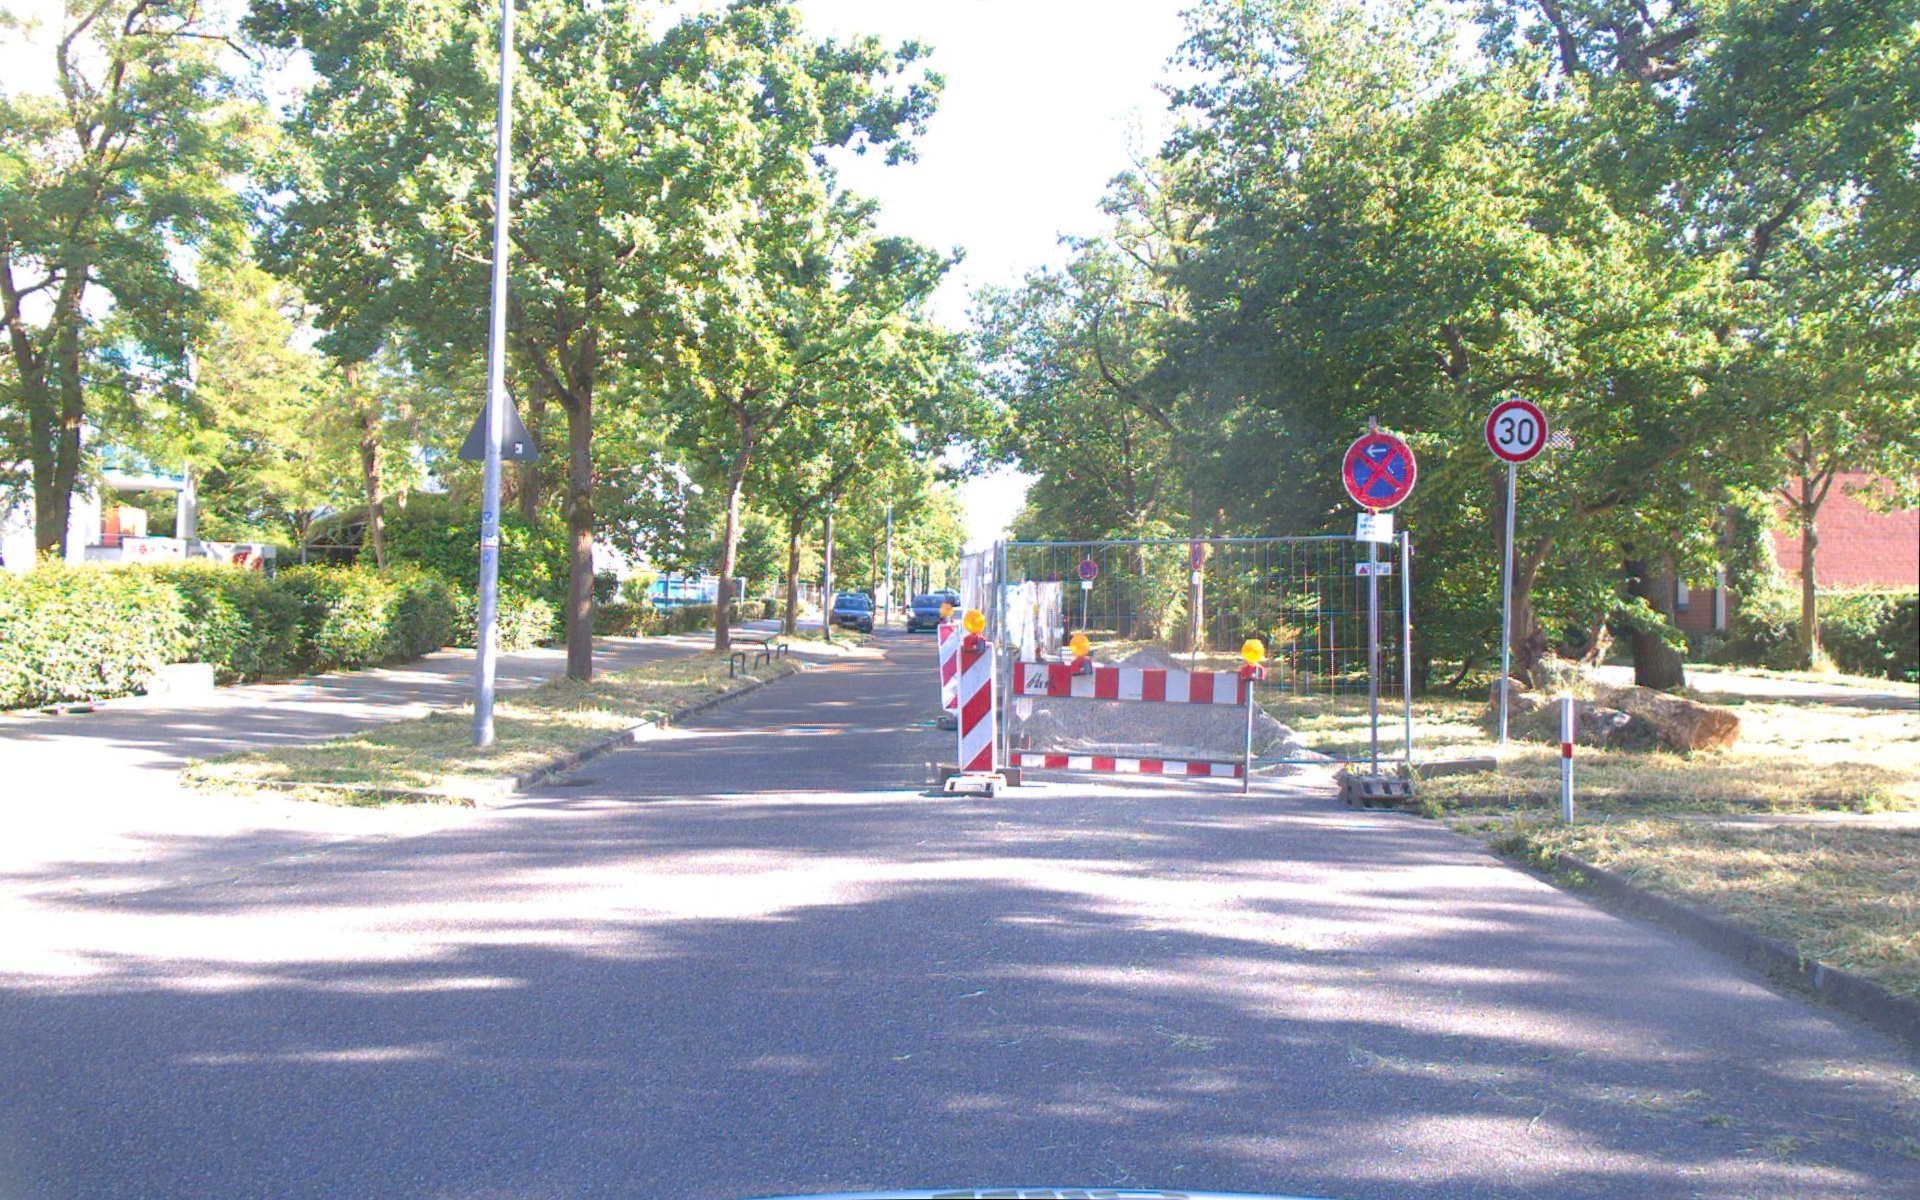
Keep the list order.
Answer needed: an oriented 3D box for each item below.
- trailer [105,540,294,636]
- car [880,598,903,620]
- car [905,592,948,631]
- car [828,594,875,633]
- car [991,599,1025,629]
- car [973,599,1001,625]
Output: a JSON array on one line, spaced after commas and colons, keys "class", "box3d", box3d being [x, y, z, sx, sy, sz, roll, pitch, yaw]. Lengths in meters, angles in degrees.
[{"class": "trailer", "box3d": [-17.686, -0.271, 38.710, 1.934, 2.078, 4.433, 1, 0, 7]}, {"class": "car", "box3d": [-4.289, 0.589, 103.258, 1.334, 1.325, 3.480, 2, -1, -2]}, {"class": "car", "box3d": [-1.465, 0.499, 73.334, 1.784, 1.653, 4.492, -1, 0, 0]}, {"class": "car", "box3d": [-4.427, 0.533, 68.009, 1.715, 1.504, 3.836, 1, 0, -1]}, {"class": "car", "box3d": [2.244, 0.666, 77.722, 1.334, 1.325, 3.480, 2, -1, -2]}, {"class": "car", "box3d": [1.485, 0.657, 90.691, 1.334, 1.325, 3.480, 2, -1, -2]}]
